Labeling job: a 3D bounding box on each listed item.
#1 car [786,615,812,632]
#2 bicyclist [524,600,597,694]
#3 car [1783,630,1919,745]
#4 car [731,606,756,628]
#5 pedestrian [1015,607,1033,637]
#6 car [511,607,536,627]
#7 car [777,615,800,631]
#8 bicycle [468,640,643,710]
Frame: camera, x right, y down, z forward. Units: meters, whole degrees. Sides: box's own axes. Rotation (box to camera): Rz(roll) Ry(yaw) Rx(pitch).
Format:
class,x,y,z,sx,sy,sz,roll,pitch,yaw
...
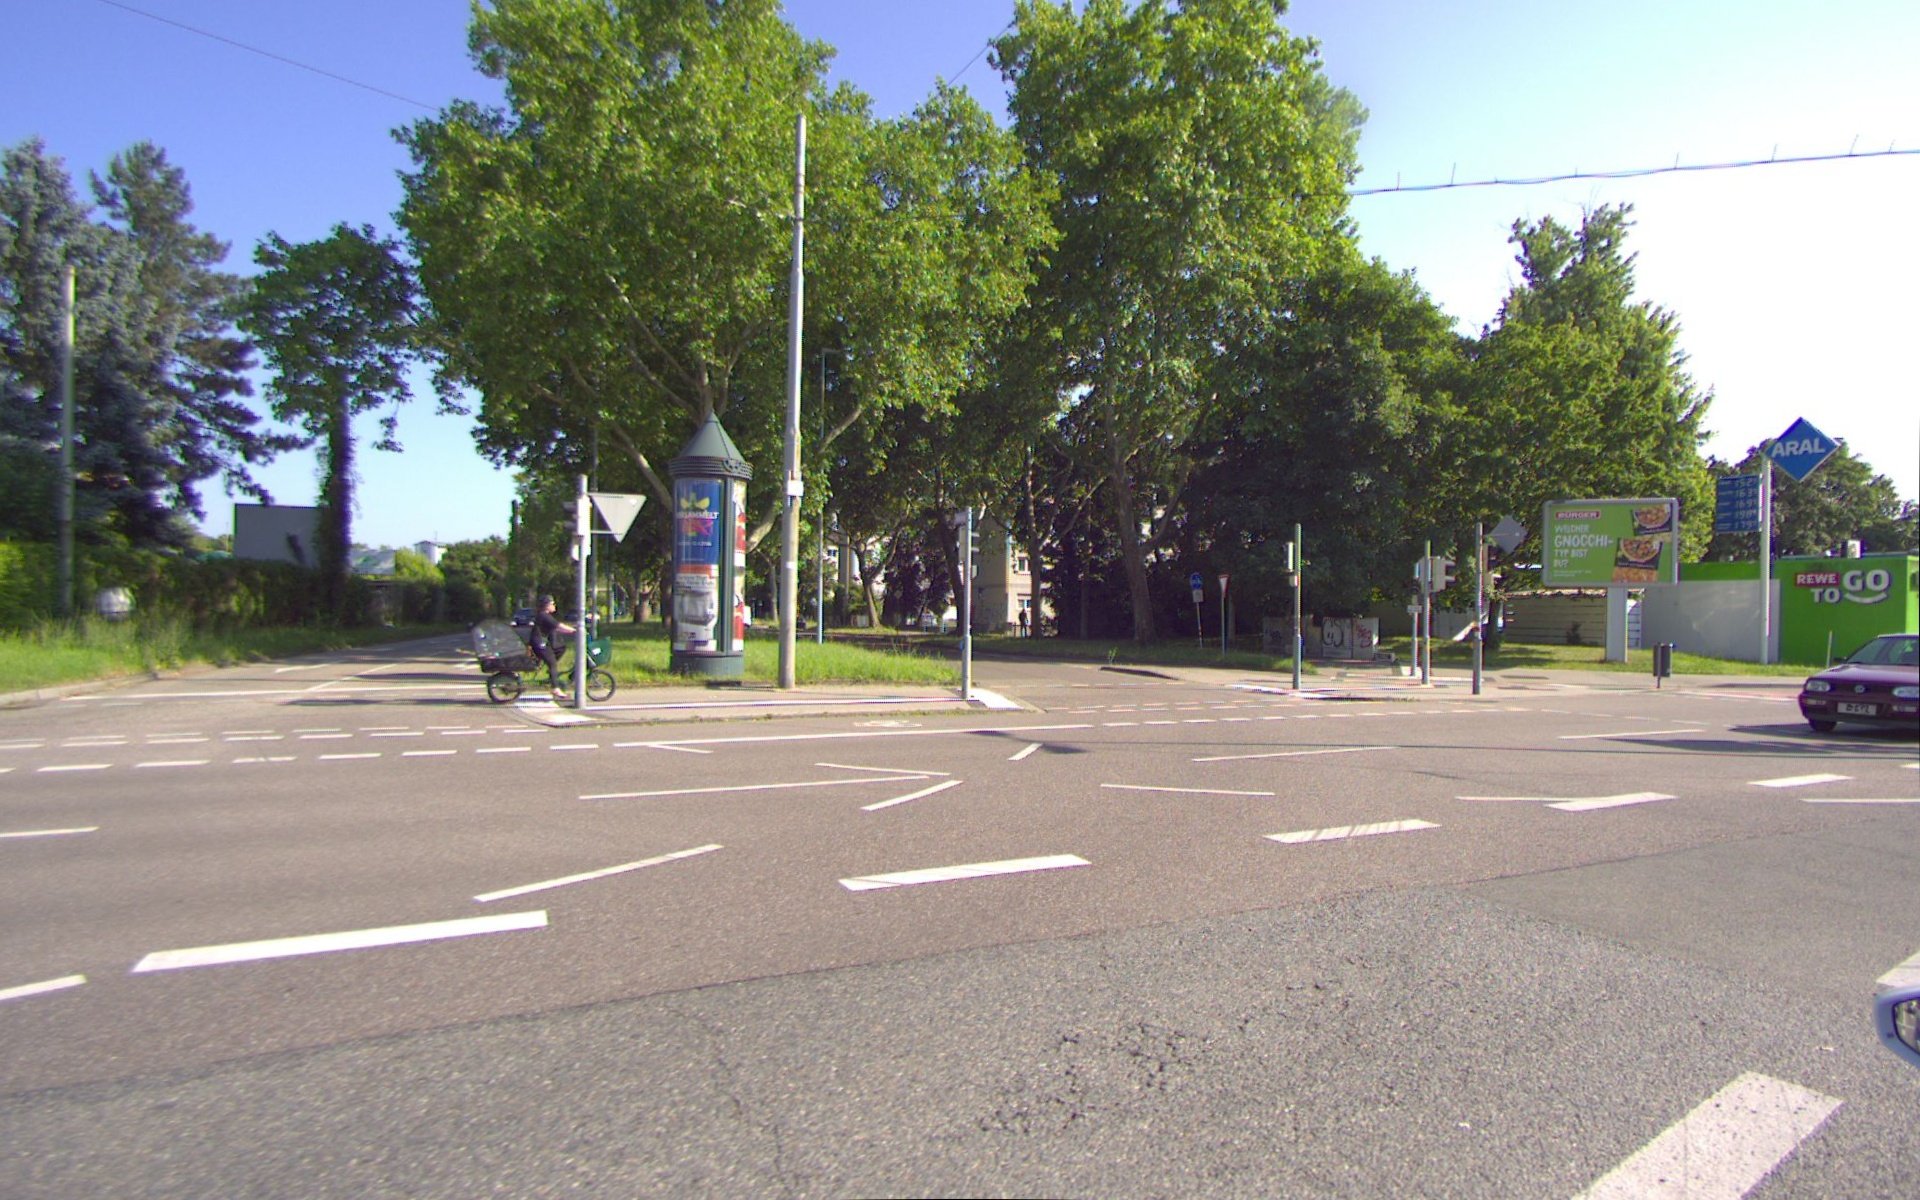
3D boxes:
class,x,y,z,sx,sy,sz,roll,pitch,yaw
car,-15.184,2.217,94.657,1.796,1.544,3.524,1,-1,-19
bicyclist,-6.442,0.744,16.208,1.036,1.472,0.660,1,0,-23
car,13.704,1.169,14.227,4.080,1.414,1.647,1,-1,-26
car,-20.254,1.598,93.930,1.796,1.989,4.384,1,-1,-19
pedestrian,3.868,1.340,60.803,0.862,1.793,0.685,1,-1,-13
car,-33.793,1.323,77.813,1.485,1.325,3.409,2,1,-19
car,-17.206,2.318,100.700,1.796,1.544,3.524,1,-1,-19
bicycle,-6.477,1.187,16.194,2.543,1.063,0.660,1,-1,-23
